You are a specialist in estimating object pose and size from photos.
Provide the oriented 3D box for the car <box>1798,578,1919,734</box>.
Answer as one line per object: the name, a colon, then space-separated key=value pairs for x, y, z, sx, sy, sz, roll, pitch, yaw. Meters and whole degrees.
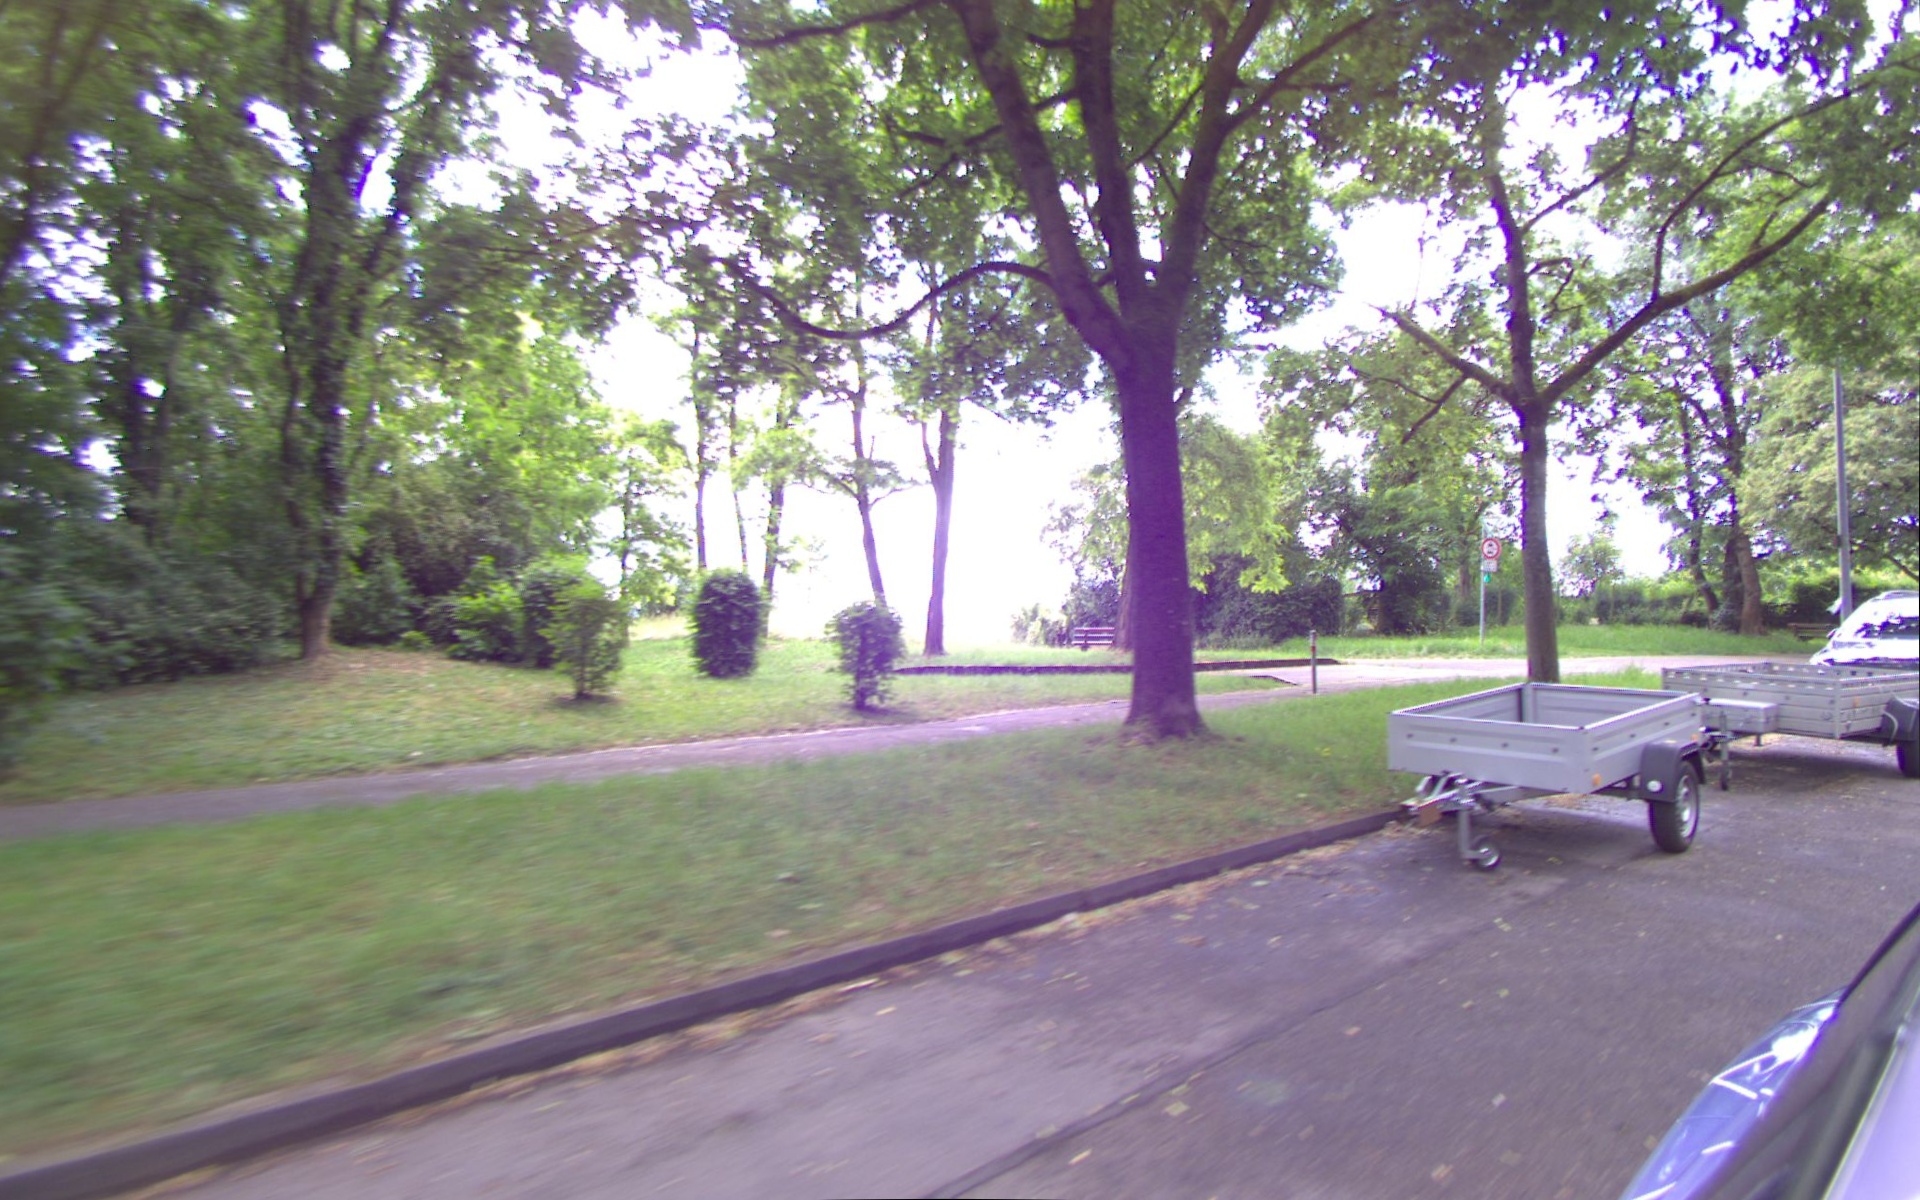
car: x=12.215 y=0.586 z=12.328 sx=4.747 sy=1.684 sz=1.781 roll=0 pitch=-1 yaw=-34

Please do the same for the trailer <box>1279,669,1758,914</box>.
trailer: x=3.490 y=0.975 z=6.137 sx=3.219 sy=0.858 sz=1.367 roll=-2 pitch=0 yaw=-38

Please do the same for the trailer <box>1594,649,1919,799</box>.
trailer: x=7.290 y=0.974 z=8.919 sx=3.816 sy=0.981 sz=1.362 roll=1 pitch=-2 yaw=-32
